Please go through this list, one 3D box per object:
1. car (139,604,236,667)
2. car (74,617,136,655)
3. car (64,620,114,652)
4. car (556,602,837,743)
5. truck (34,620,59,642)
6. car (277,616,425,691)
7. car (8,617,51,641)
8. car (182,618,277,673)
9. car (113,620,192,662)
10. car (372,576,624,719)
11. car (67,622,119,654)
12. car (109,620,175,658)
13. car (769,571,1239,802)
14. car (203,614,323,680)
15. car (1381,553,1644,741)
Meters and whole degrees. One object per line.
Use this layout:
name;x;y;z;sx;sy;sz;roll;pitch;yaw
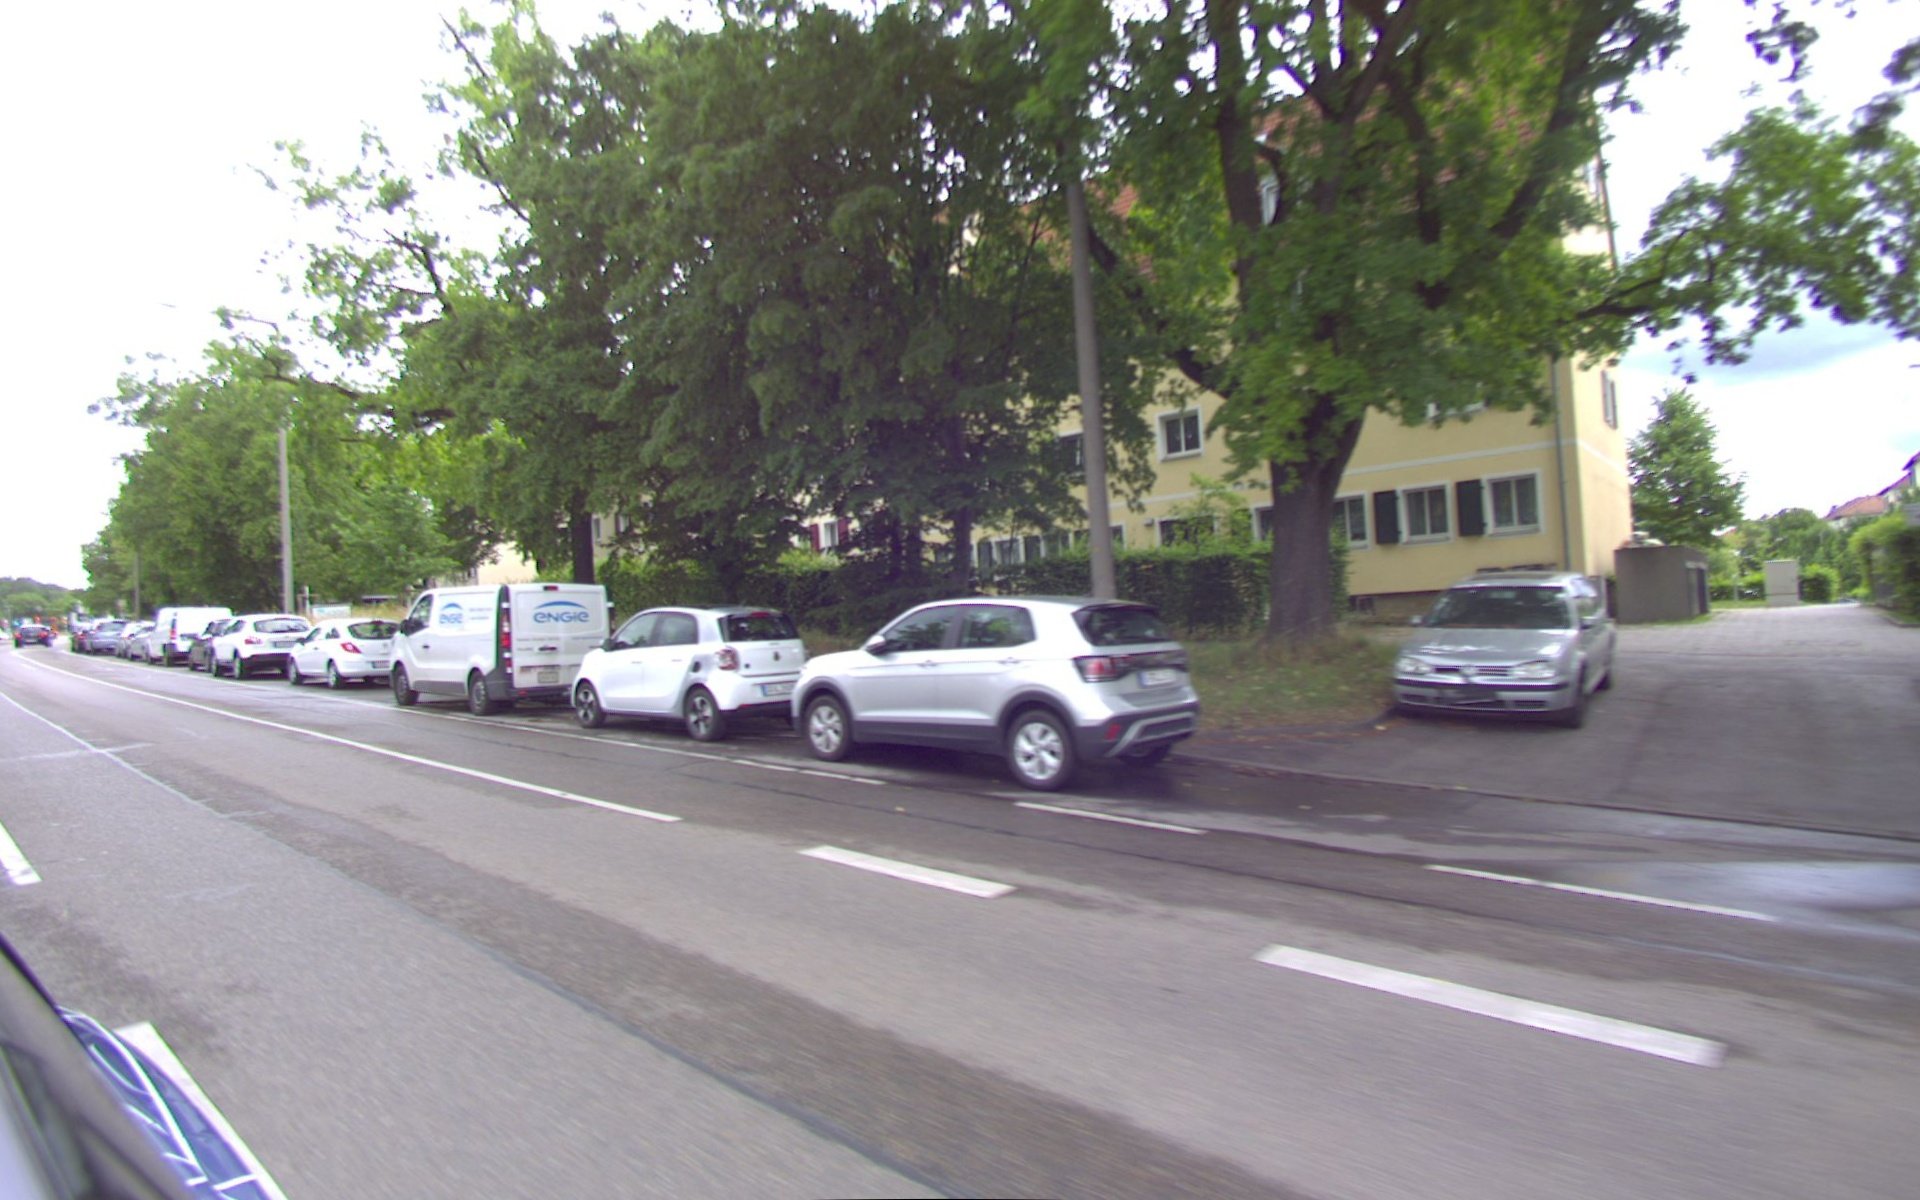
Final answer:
car;-26.188;1.195;34.243;5.155;1.945;1.749;-3;0;43
car;-39.005;1.657;46.147;4.135;1.604;1.748;-3;-1;44
car;-46.097;1.882;53.526;1.853;1.582;4.656;-1;0;-42
car;-3.390;0.827;12.678;3.717;1.493;1.565;-2;-1;41
truck;-149.063;5.101;165.227;2.789;3.507;7.835;-1;-1;-40
car;-13.531;1.135;22.398;4.088;1.490;1.645;-2;-1;41
car;-60.955;1.887;66.364;1.615;1.478;4.009;0;-1;-36
car;-21.649;1.307;29.942;1.654;1.499;4.047;1;-2;-45
car;-30.717;1.563;38.466;3.947;1.444;1.618;-3;0;40
car;-7.627;0.711;16.420;5.126;1.978;1.846;-2;-1;43
car;-42.860;1.866;50.004;1.747;1.458;4.153;-1;-1;-43
car;-34.135;1.629;42.205;1.747;1.507;4.360;1;-2;-44
car;0.219;0.662;9.293;4.158;1.646;1.747;-2;-1;43
car;-18.143;1.180;26.259;4.281;1.576;1.655;-2;-1;43
car;6.339;0.365;11.330;1.866;1.461;4.392;-2;4;38
